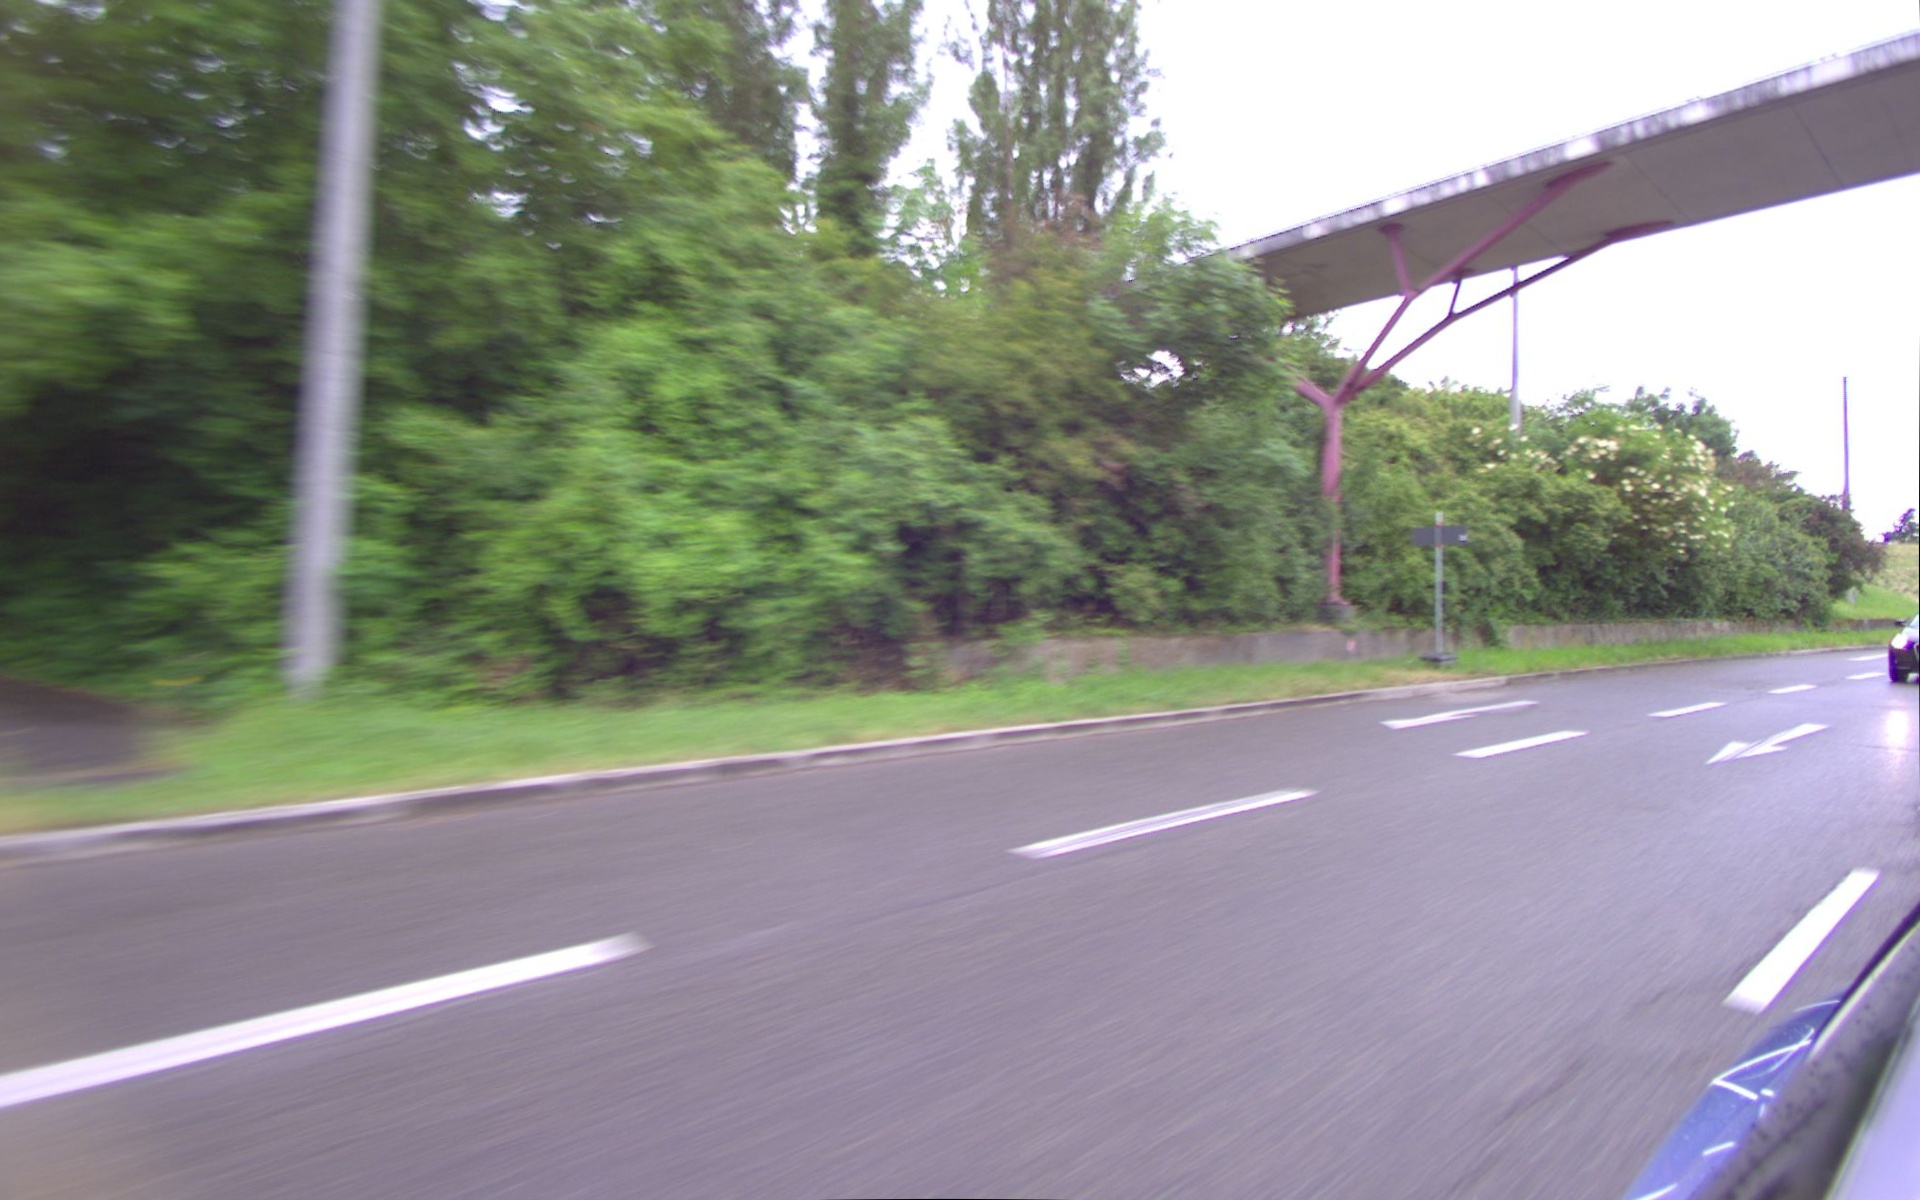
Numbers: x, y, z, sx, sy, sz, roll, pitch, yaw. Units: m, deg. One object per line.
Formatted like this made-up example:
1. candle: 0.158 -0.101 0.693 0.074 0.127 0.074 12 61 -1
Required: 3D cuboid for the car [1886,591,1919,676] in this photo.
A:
1. car: 20.397 0.632 20.281 4.199 1.621 1.928 0 0 -36
